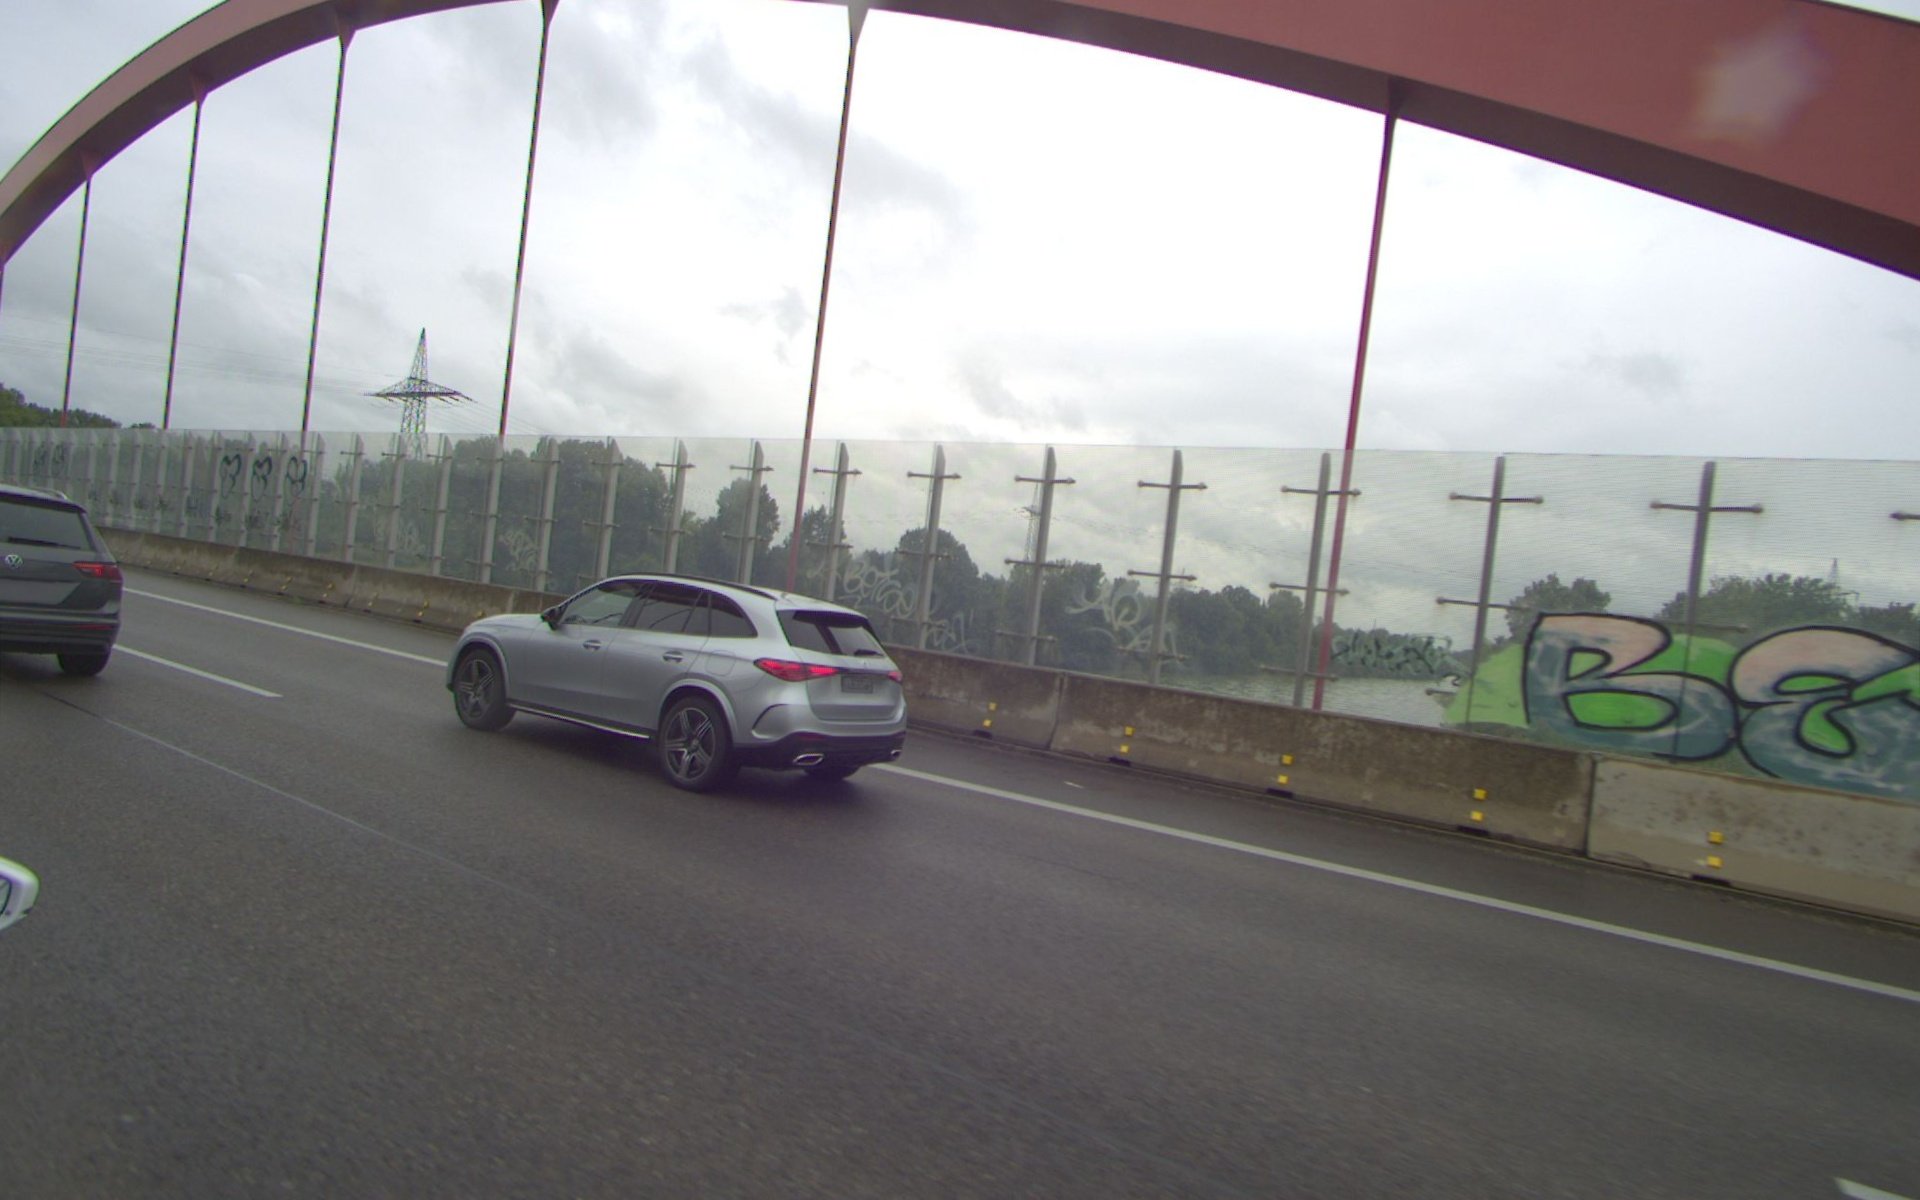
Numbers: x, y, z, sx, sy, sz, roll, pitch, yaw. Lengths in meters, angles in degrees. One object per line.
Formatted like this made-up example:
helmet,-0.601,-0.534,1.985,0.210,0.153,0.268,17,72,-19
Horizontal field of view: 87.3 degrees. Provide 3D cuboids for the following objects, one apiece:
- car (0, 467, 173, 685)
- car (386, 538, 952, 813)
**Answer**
car,-9.195,-0.378,8.980,4.034,1.689,1.916,7,-1,30
car,-2.876,0.537,9.395,5.240,1.638,1.996,7,-1,33
